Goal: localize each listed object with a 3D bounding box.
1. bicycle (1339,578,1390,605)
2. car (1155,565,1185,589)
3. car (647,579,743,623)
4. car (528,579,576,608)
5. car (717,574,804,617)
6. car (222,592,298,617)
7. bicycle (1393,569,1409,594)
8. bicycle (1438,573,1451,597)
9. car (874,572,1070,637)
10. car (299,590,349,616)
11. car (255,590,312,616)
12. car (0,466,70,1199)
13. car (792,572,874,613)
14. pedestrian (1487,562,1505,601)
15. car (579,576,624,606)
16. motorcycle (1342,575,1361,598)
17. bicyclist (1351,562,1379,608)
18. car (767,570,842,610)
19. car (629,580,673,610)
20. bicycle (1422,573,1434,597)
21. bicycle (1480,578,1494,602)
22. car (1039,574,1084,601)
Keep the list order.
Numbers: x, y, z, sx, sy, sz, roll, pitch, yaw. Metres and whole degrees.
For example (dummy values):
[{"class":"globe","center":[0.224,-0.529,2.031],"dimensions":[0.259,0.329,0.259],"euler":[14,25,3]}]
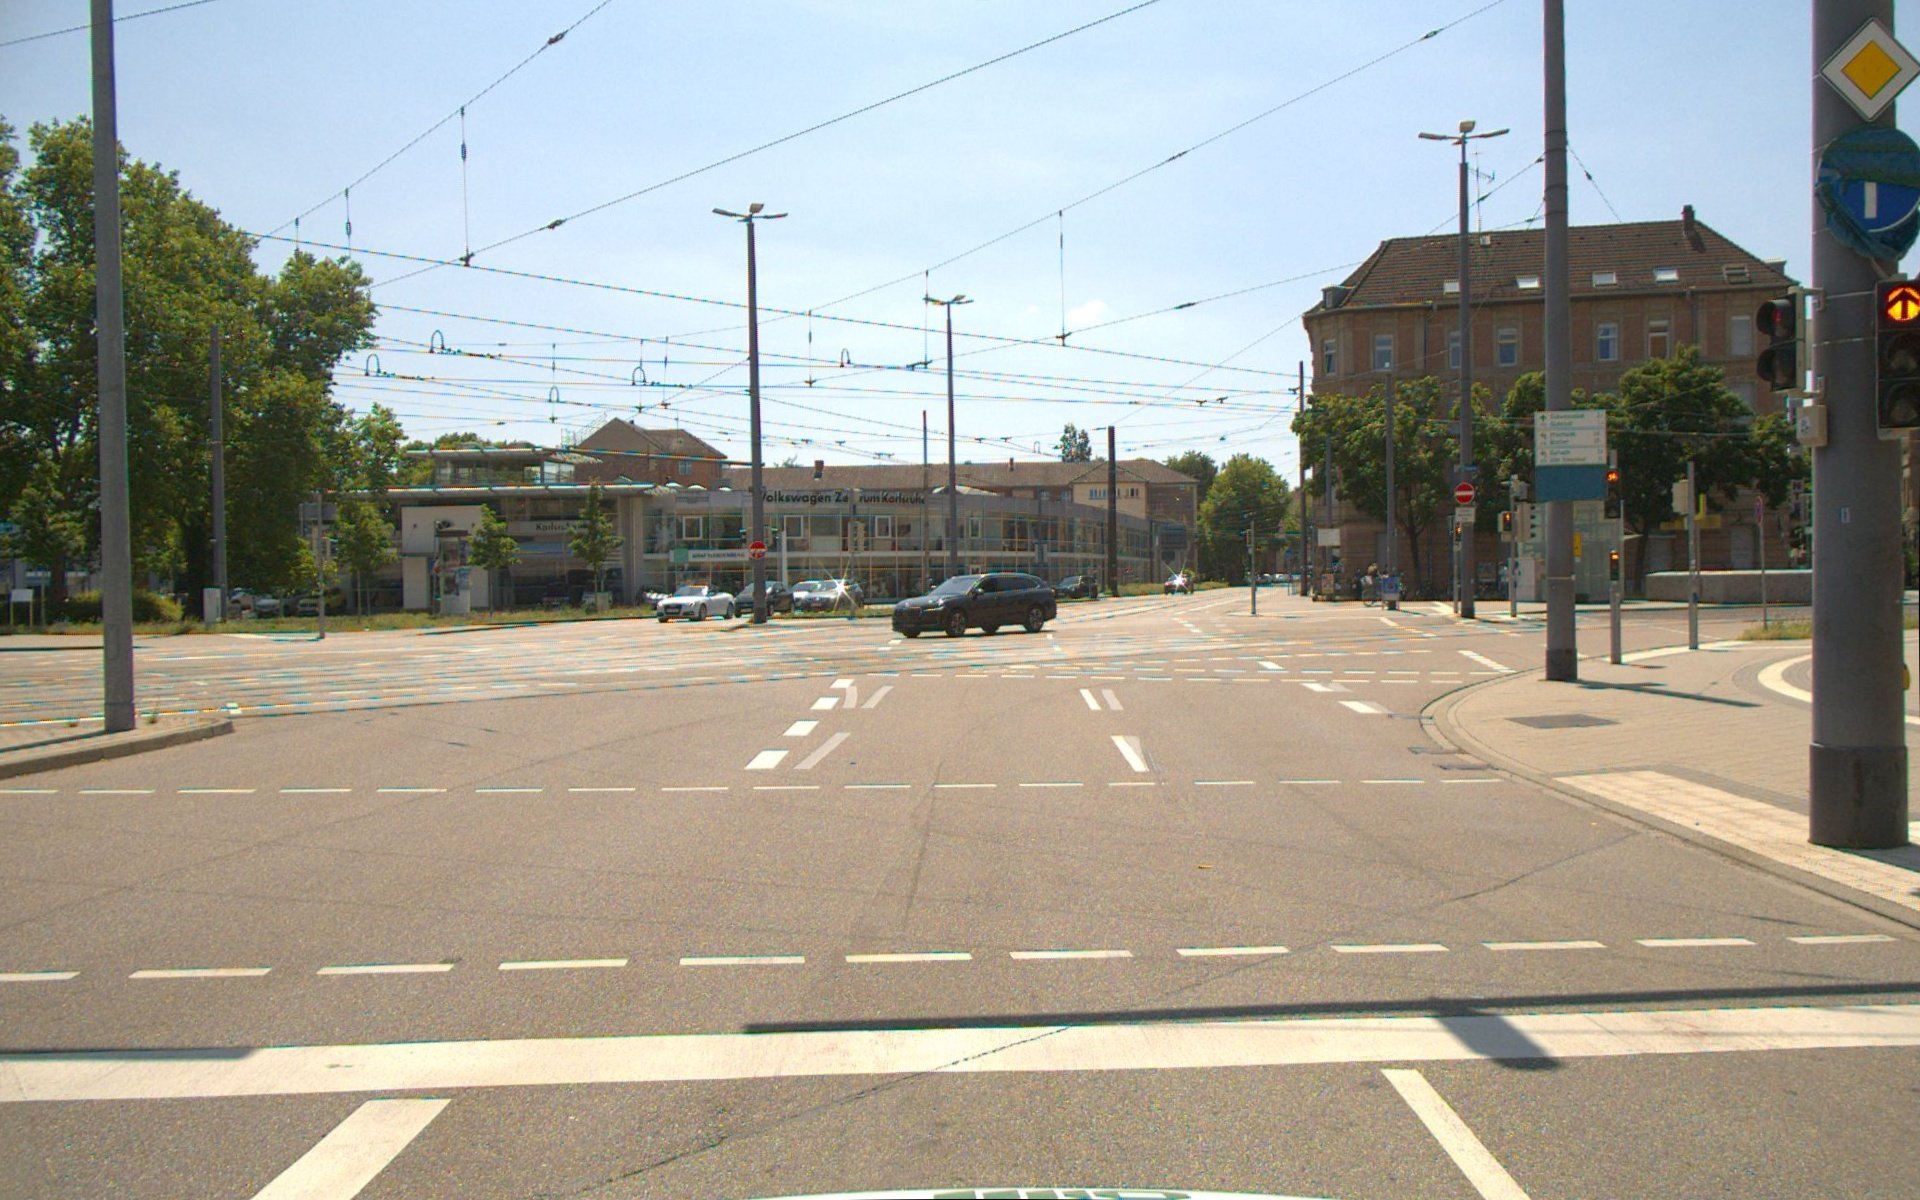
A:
[{"class":"bicycle","center":[16.660,-0.334,68.132],"dimensions":[2.079,1.071,0.687],"euler":[1,0,-26]},{"class":"car","center":[16.836,-1.800,132.557],"dimensions":[1.951,1.807,4.003],"euler":[1,0,13]},{"class":"car","center":[-10.348,-0.002,64.958],"dimensions":[2.032,1.607,4.851],"euler":[-1,1,12]},{"class":"car","center":[-24.788,-0.385,100.550],"dimensions":[1.881,1.737,3.999],"euler":[1,0,0]},{"class":"car","center":[-8.528,-0.225,71.130],"dimensions":[1.951,1.730,4.850],"euler":[-1,1,16]},{"class":"car","center":[-45.330,0.286,107.102],"dimensions":[4.279,1.536,1.750],"euler":[-1,1,-36]},{"class":"bicycle","center":[21.535,-0.885,80.736],"dimensions":[0.433,1.166,2.095],"euler":[1,0,6]},{"class":"bicycle","center":[23.386,-0.732,79.863],"dimensions":[0.539,1.139,1.822],"euler":[-1,1,15]},{"class":"car","center":[0.352,0.078,41.388],"dimensions":[4.800,1.491,1.971],"euler":[-1,1,-40]},{"class":"car","center":[-38.991,0.165,101.441],"dimensions":[1.733,1.536,4.322],"euler":[-1,1,-5]},{"class":"car","center":[-41.632,0.156,101.881],"dimensions":[1.731,1.536,4.327],"euler":[-1,1,0]},{"class":"car","center":[-2.739,0.612,1.036],"dimensions":[1.761,1.669,4.804],"euler":[-1,1,0]},{"class":"car","center":[-5.425,-0.340,71.466],"dimensions":[1.951,1.666,4.850],"euler":[-1,1,16]},{"class":"pedestrian","center":[23.946,-0.835,73.928],"dimensions":[0.455,1.737,0.635],"euler":[-1,0,-25]},{"class":"car","center":[-21.782,-0.533,100.605],"dimensions":[1.881,1.737,3.999],"euler":[1,0,0]},{"class":"motorcycle","center":[19.030,-0.643,80.397],"dimensions":[0.568,1.093,1.947],"euler":[-1,1,3]},{"class":"bicyclist","center":[16.706,-0.617,68.166],"dimensions":[1.047,1.839,0.475],"euler":[1,-1,-26]},{"class":"car","center":[-7.159,-0.472,76.700],"dimensions":[1.951,1.770,4.546],"euler":[-1,1,16]},{"class":"car","center":[-18.788,-0.281,100.658],"dimensions":[1.881,1.737,3.999],"euler":[1,0,0]},{"class":"bicycle","center":[22.630,-0.722,79.967],"dimensions":[0.539,1.139,1.821],"euler":[-1,1,17]},{"class":"bicycle","center":[25.518,-0.484,80.047],"dimensions":[0.539,1.139,1.872],"euler":[-1,1,15]},{"class":"car","center":[6.899,-0.873,111.961],"dimensions":[2.034,1.712,4.850],"euler":[-1,1,16]}]
